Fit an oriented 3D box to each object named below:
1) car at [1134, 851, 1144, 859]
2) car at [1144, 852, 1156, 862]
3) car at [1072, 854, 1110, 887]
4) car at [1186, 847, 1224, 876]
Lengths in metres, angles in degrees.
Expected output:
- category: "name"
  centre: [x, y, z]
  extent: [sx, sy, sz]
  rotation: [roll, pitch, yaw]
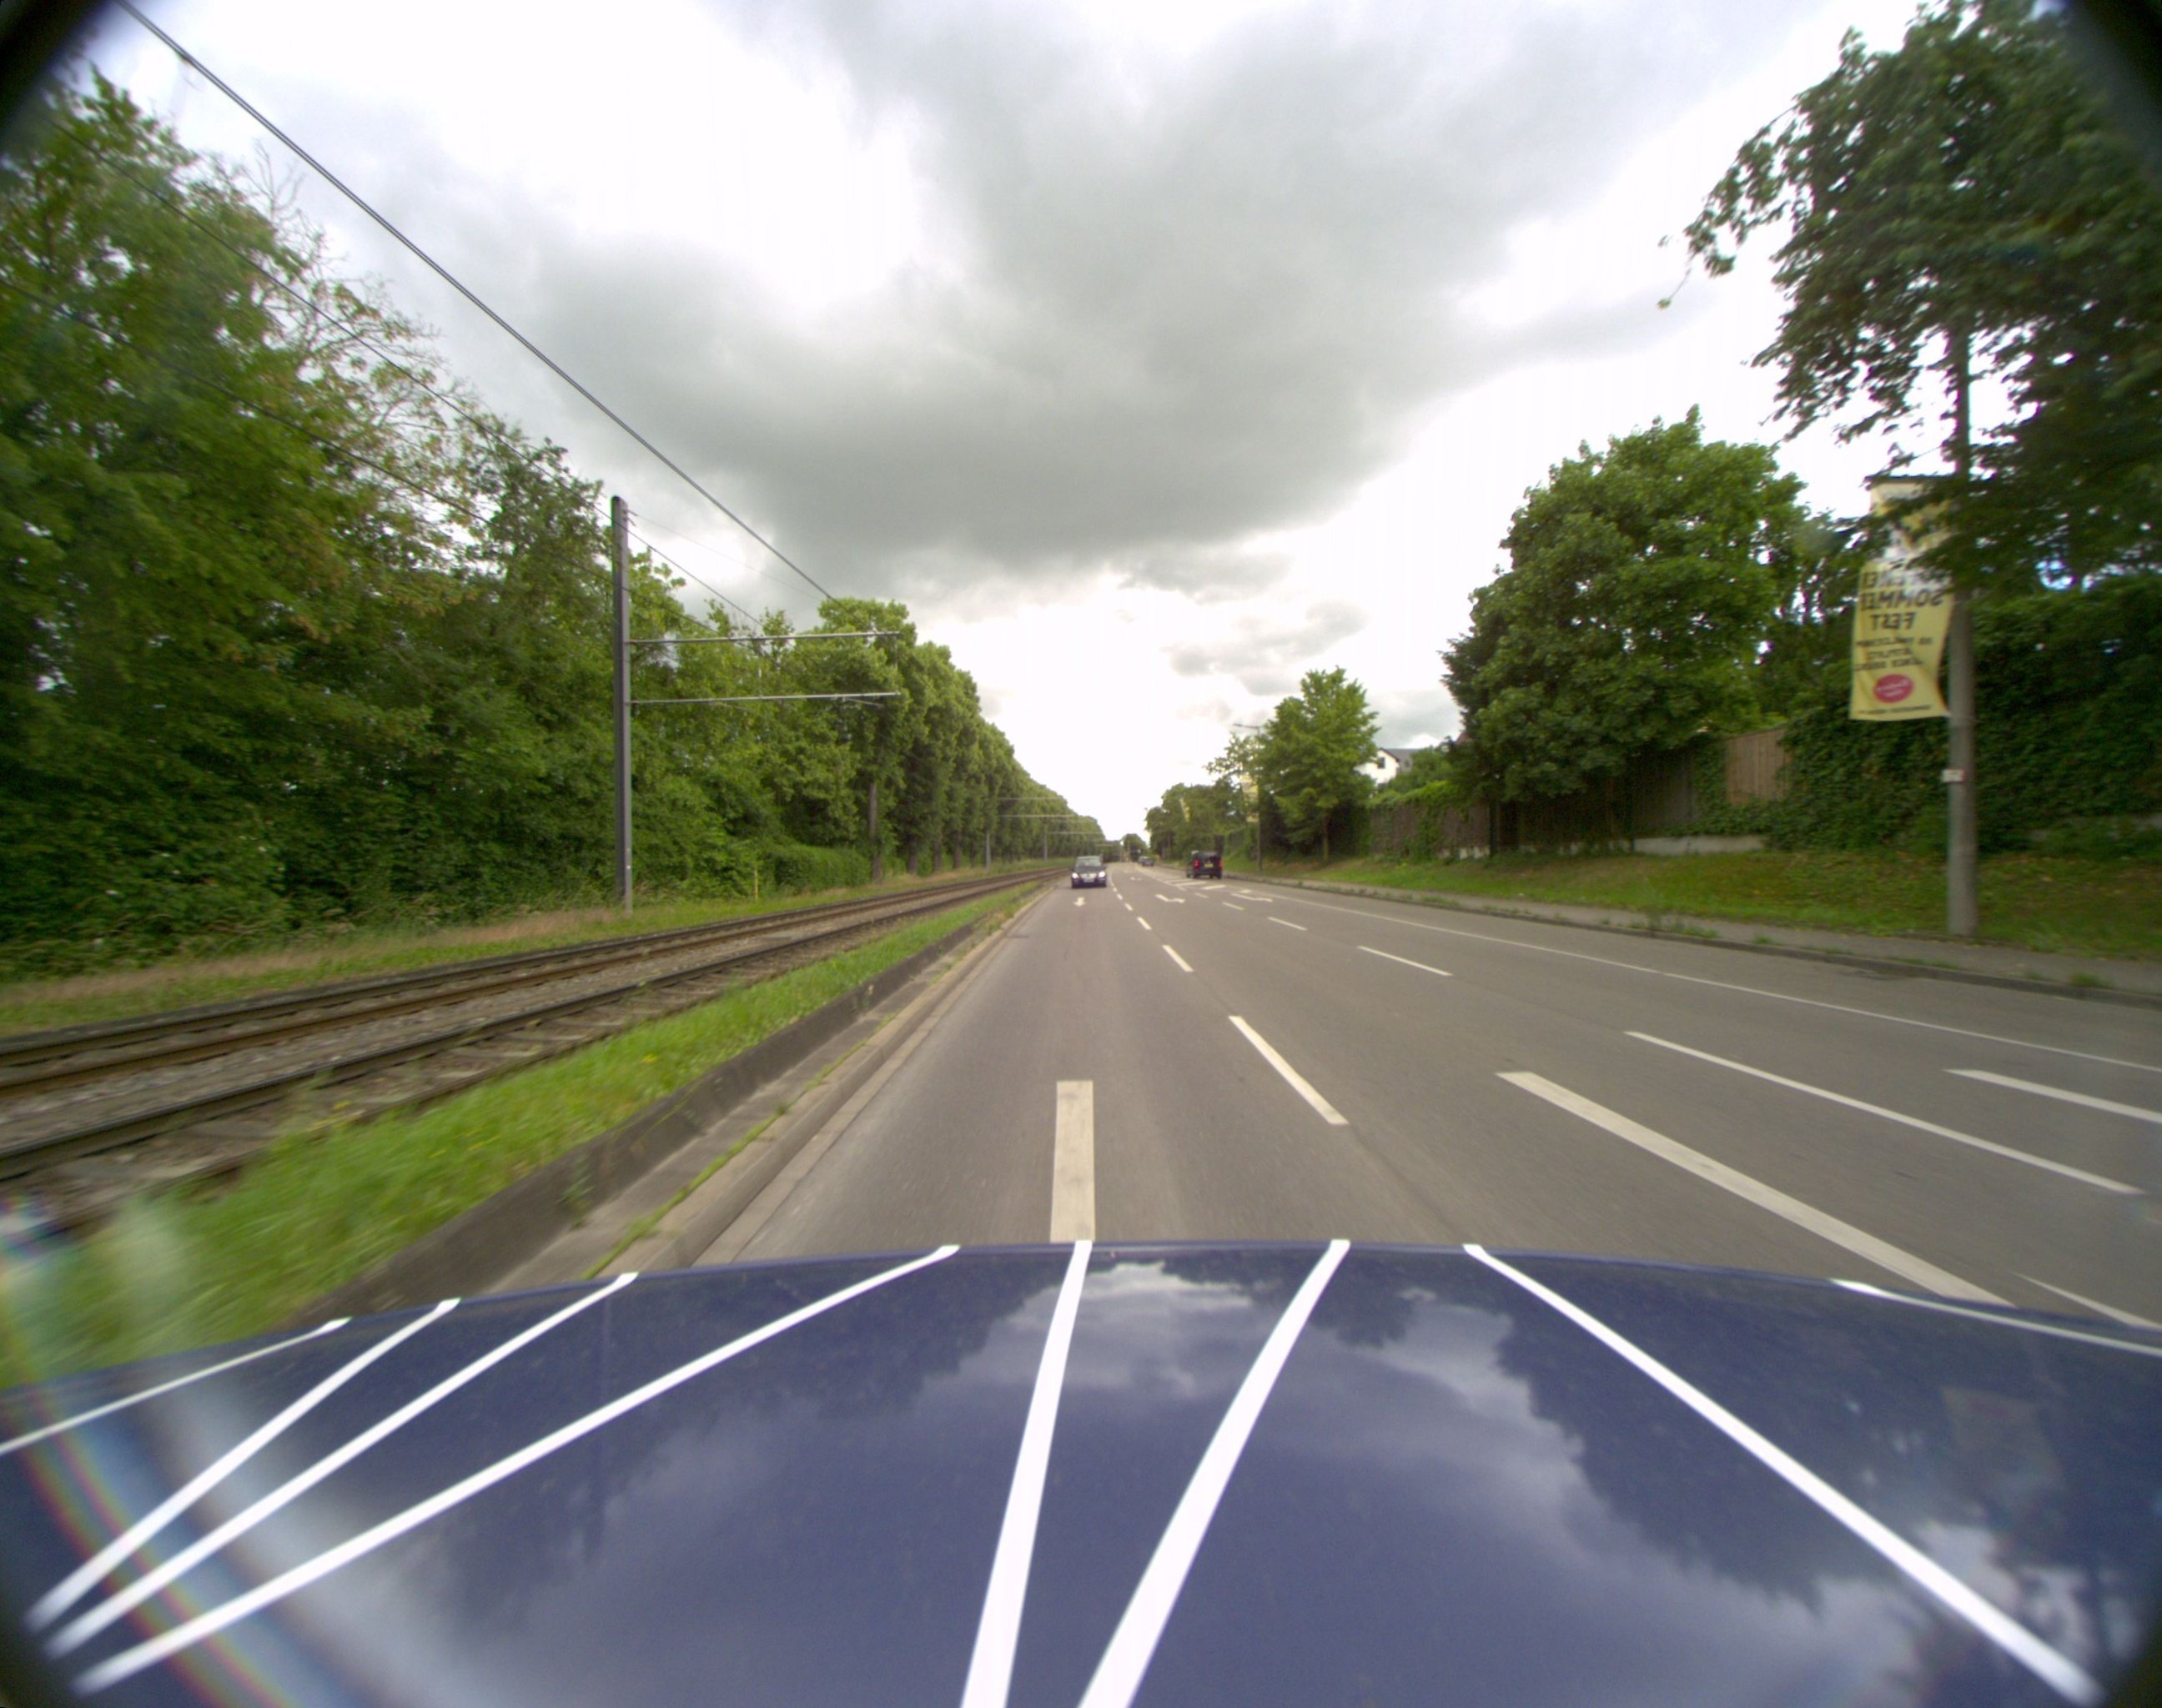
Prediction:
- category: "car"
  centre: [12.152, 0.140, 159.261]
  extent: [1.807, 1.520, 3.929]
  rotation: [-2, 1, 2]
- category: "car"
  centre: [10.954, 0.442, 120.324]
  extent: [1.657, 1.414, 4.008]
  rotation: [1, 1, 2]
- category: "car"
  centre: [0.537, 0.834, 39.478]
  extent: [1.807, 1.520, 3.929]
  rotation: [-2, 1, 2]
- category: "car"
  centre: [8.497, 0.482, 52.473]
  extent: [1.808, 1.893, 4.688]
  rotation: [0, 0, -1]
